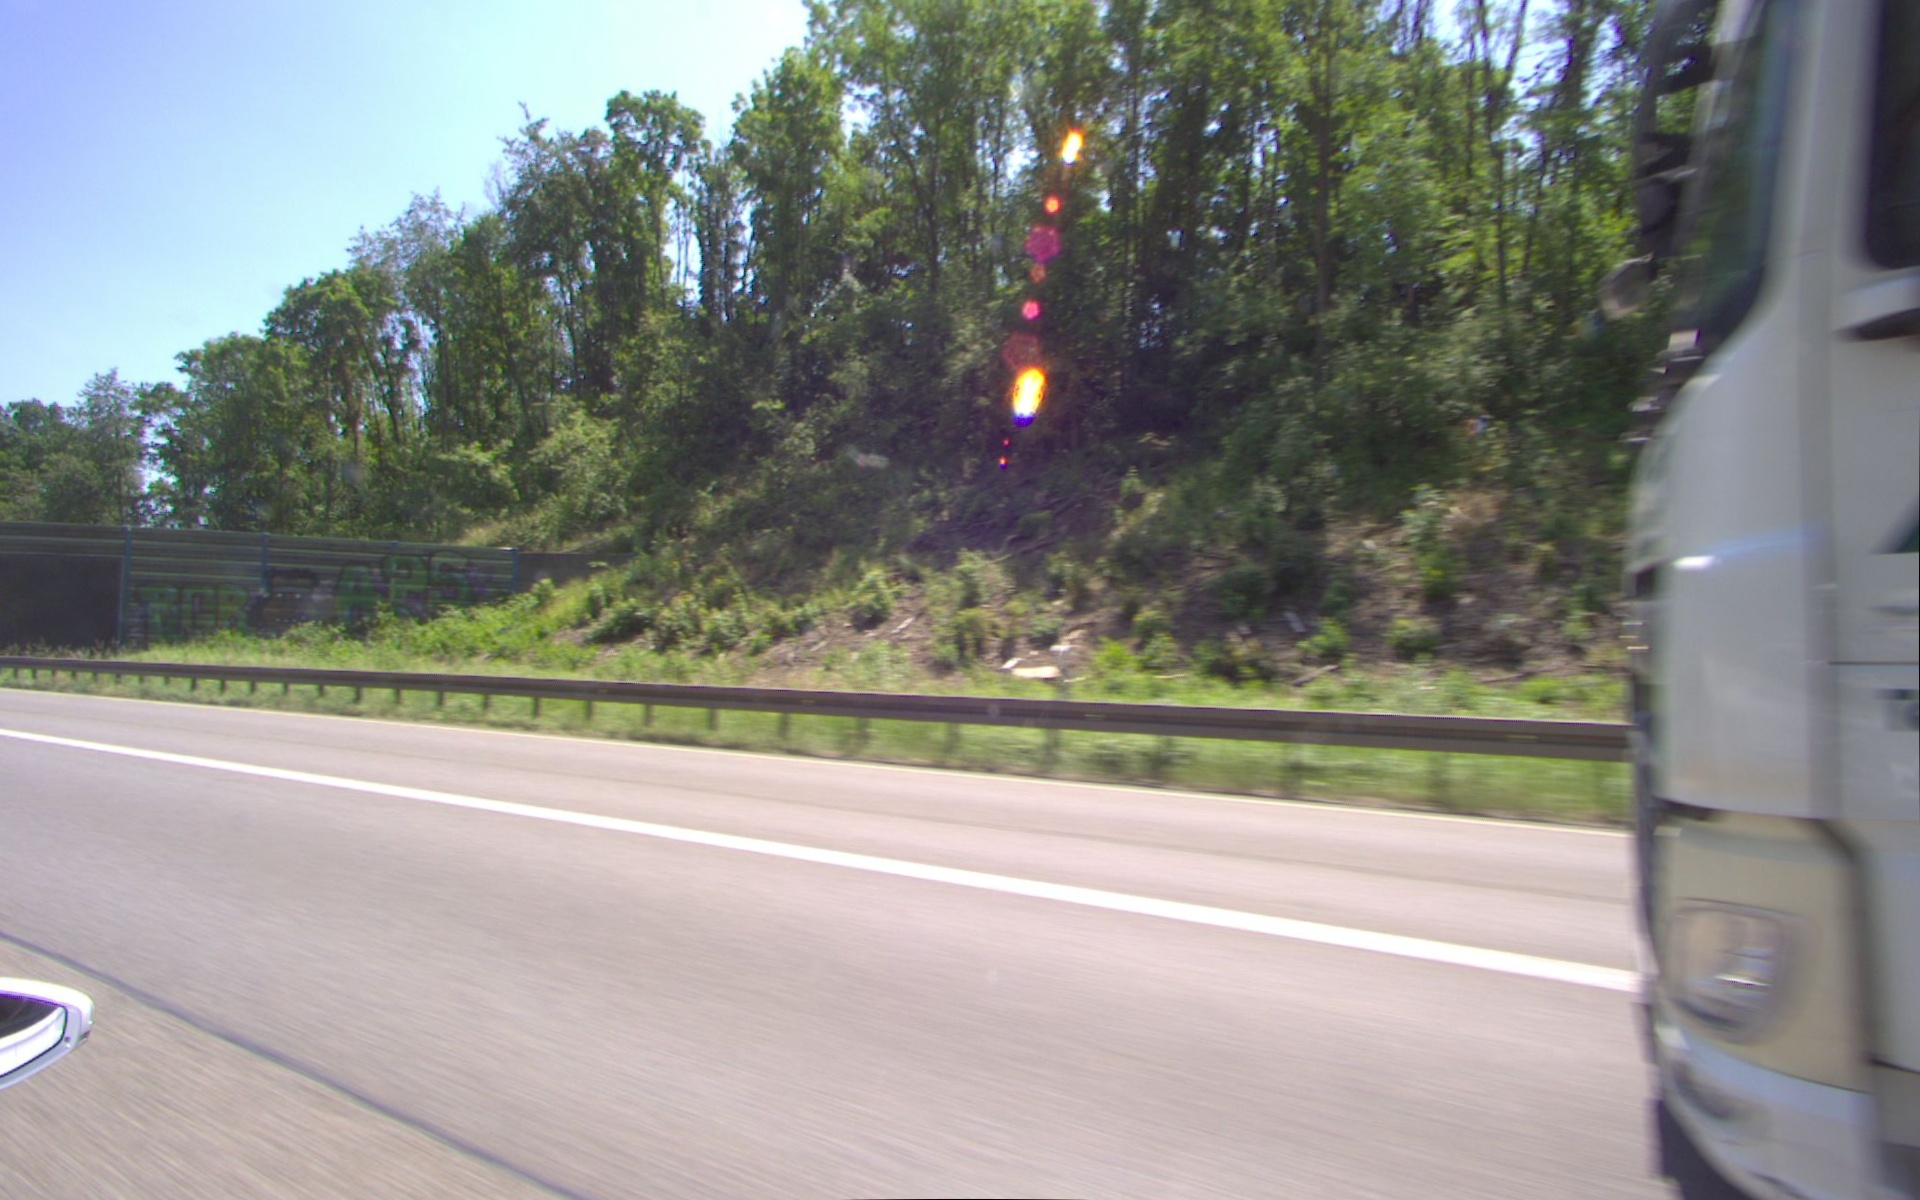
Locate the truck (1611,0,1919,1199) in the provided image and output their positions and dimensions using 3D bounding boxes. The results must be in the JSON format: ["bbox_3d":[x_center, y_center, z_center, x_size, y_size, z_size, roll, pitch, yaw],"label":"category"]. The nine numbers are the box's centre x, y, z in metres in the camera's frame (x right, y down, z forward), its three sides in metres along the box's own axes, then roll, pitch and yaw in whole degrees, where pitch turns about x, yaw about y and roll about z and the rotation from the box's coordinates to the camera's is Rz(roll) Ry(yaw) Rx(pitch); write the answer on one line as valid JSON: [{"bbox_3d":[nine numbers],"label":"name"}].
[{"bbox_3d":[4.582,-0.581,1.627,5.784,4.259,2.781,0,-1,32],"label":"truck"}]
